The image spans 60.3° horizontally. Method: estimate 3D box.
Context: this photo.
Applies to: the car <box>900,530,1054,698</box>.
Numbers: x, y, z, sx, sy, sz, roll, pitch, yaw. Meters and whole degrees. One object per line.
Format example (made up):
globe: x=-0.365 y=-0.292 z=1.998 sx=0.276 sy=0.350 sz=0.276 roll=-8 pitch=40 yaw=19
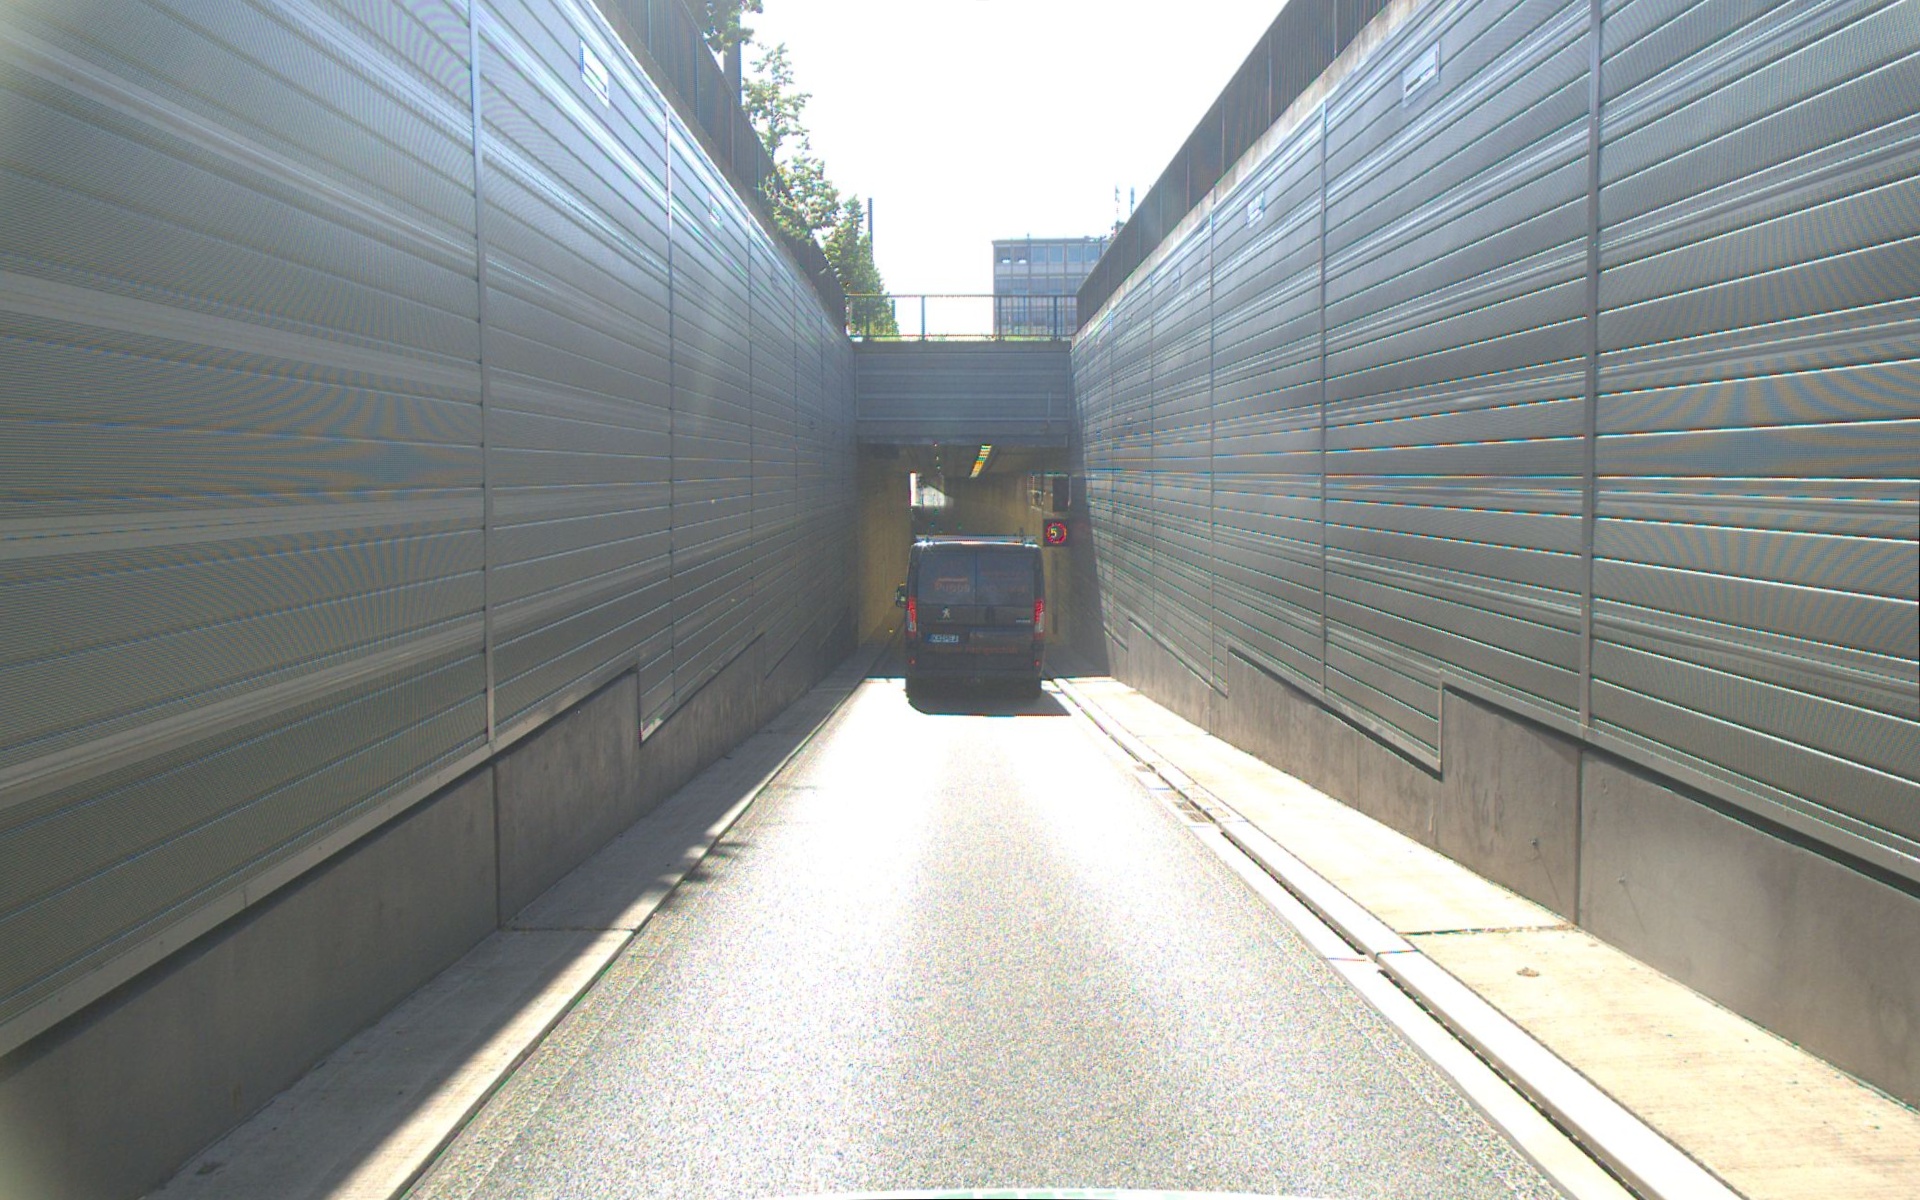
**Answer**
car: x=0.233 y=0.173 z=25.276 sx=2.114 sy=2.305 sz=4.636 roll=1 pitch=1 yaw=0
